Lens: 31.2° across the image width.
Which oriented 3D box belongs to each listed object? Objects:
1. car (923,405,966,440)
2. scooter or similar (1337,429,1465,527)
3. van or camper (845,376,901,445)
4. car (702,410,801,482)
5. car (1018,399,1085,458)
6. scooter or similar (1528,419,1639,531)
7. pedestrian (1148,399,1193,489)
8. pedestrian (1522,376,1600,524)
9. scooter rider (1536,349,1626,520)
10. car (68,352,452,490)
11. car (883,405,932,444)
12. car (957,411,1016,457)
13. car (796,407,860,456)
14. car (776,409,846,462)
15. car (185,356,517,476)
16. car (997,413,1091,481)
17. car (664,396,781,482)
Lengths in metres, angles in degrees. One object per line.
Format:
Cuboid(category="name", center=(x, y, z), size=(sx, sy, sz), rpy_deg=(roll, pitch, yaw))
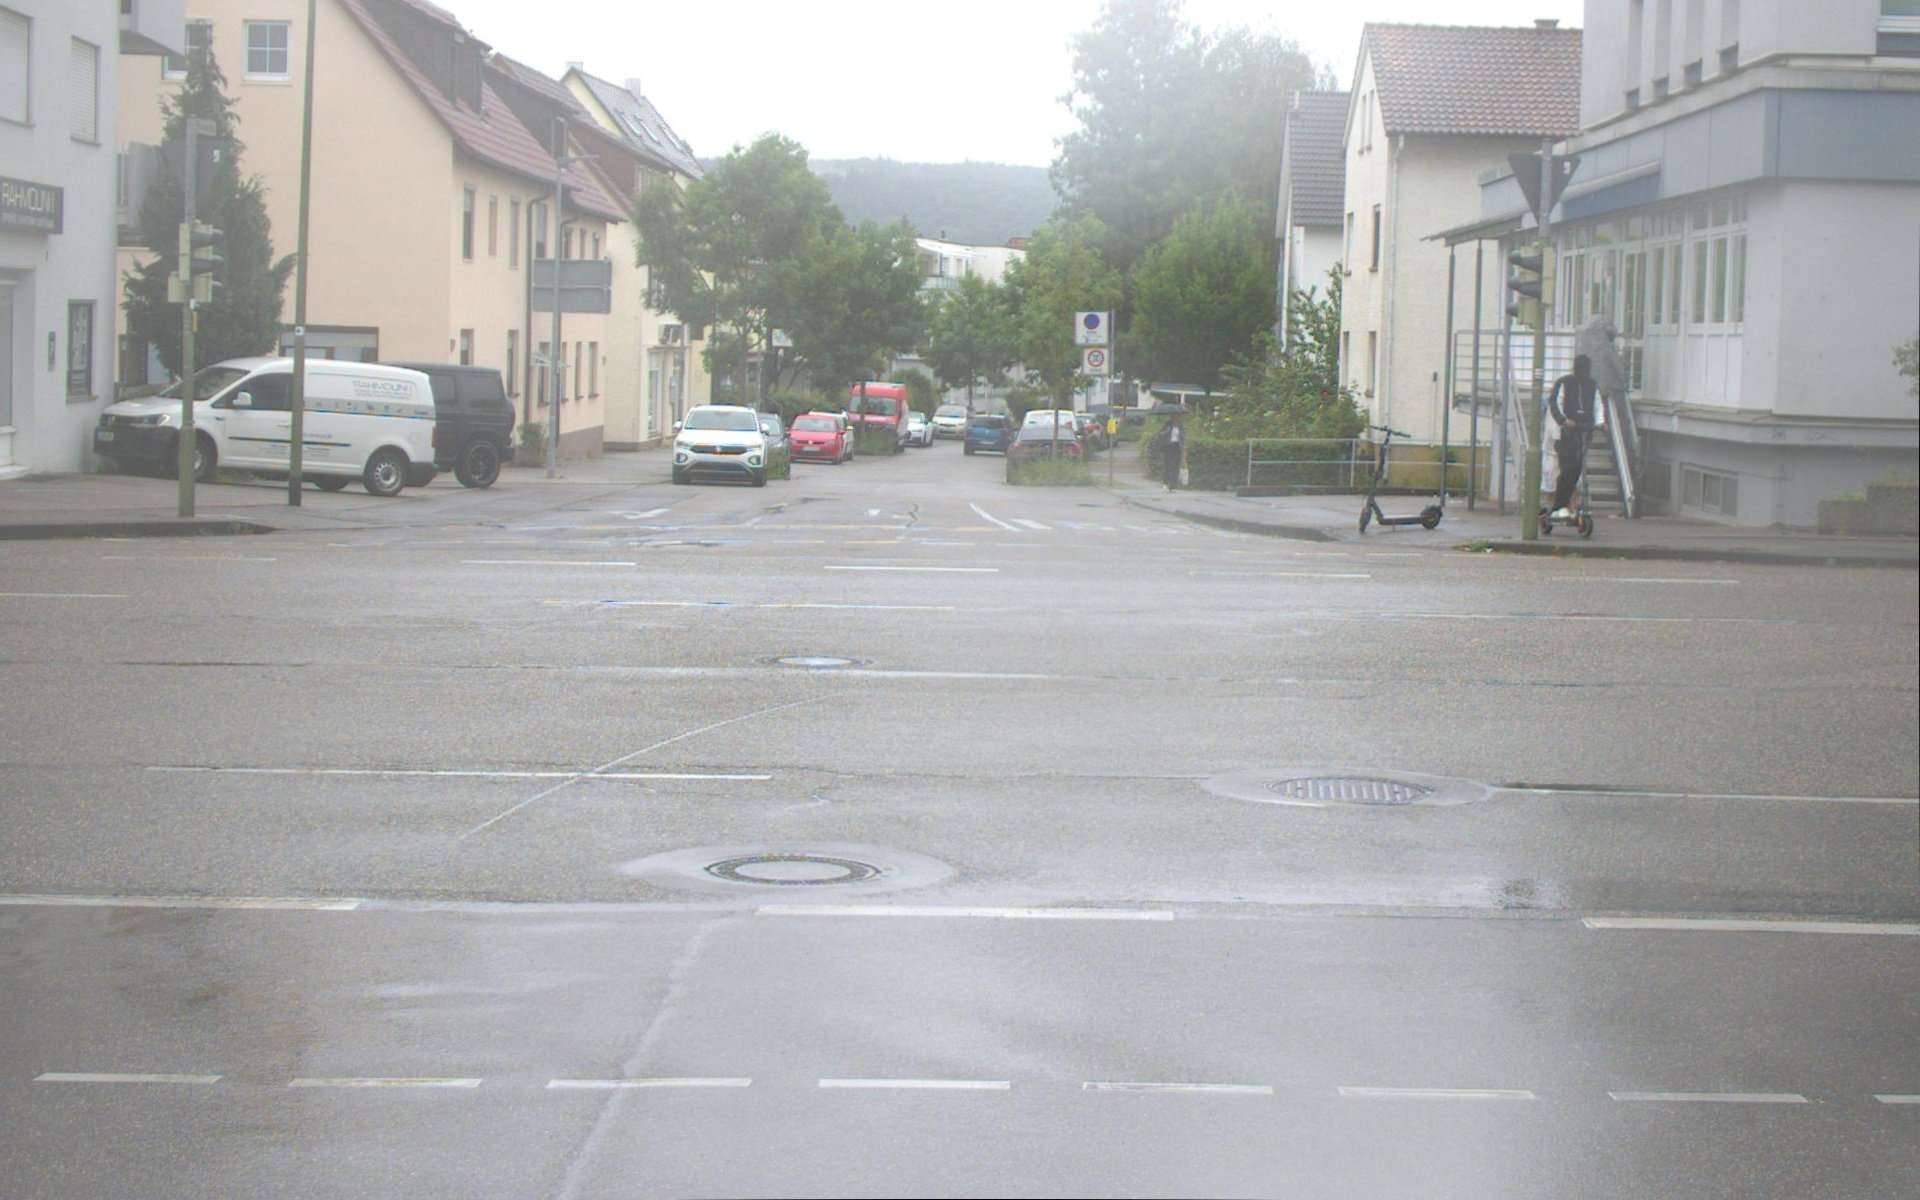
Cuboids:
Cuboid(category="car", center=(-0.677, -7.977, 154.543), size=(1.901, 1.553, 4.192), rpy_deg=(0, 3, 0))
Cuboid(category="scooter or similar", center=(4.949, -1.373, 38.615), size=(1.268, 1.077, 0.877), rpy_deg=(0, 3, -4))
Cuboid(category="van or camper", center=(-3.189, -6.968, 126.842), size=(1.901, 2.504, 4.239), rpy_deg=(0, 3, 0))
Cuboid(category="car", center=(-4.777, -3.561, 79.348), size=(1.993, 1.620, 4.192), rpy_deg=(0, 3, 0))
Cuboid(category="car", center=(2.735, -5.151, 103.526), size=(1.901, 1.739, 4.192), rpy_deg=(0, 3, 0))
Cuboid(category="scooter or similar", center=(6.594, -1.328, 36.416), size=(0.757, 1.167, 1.315), rpy_deg=(0, 3, -9))
Cuboid(category="pedestrian", center=(4.418, -3.275, 72.242), size=(0.745, 1.842, 0.526), rpy_deg=(4, 2, -4))
Cuboid(category="pedestrian", center=(6.922, -1.725, 39.597), size=(0.647, 1.641, 0.526), rpy_deg=(4, 2, -6))
Cuboid(category="scooter rider", center=(6.576, -1.755, 36.438), size=(0.752, 1.789, 0.673), rpy_deg=(0, 2, -7))
Cuboid(category="car", center=(-9.654, -2.459, 47.602), size=(4.830, 1.829, 2.000), rpy_deg=(-2, 3, -38))
Cuboid(category="car", center=(-2.095, -7.065, 138.566), size=(1.901, 1.553, 4.192), rpy_deg=(0, 3, 0))
Cuboid(category="car", center=(0.980, -6.103, 126.415), size=(1.994, 1.678, 4.000), rpy_deg=(0, 3, 3))
Cuboid(category="car", center=(-4.310, -5.520, 112.773), size=(1.901, 1.553, 4.192), rpy_deg=(0, 3, 0))
Cuboid(category="car", center=(-4.496, -5.000, 104.375), size=(1.901, 1.553, 4.192), rpy_deg=(0, 3, 0))
Cuboid(category="car", center=(-9.631, -2.901, 54.579), size=(4.830, 1.829, 2.000), rpy_deg=(-2, 3, -38))
Cuboid(category="car", center=(1.962, -3.636, 81.608), size=(2.146, 1.583, 4.128), rpy_deg=(0, 3, 0))
Cuboid(category="car", center=(-4.661, -3.183, 67.948), size=(1.993, 1.620, 4.192), rpy_deg=(0, 3, 0))
